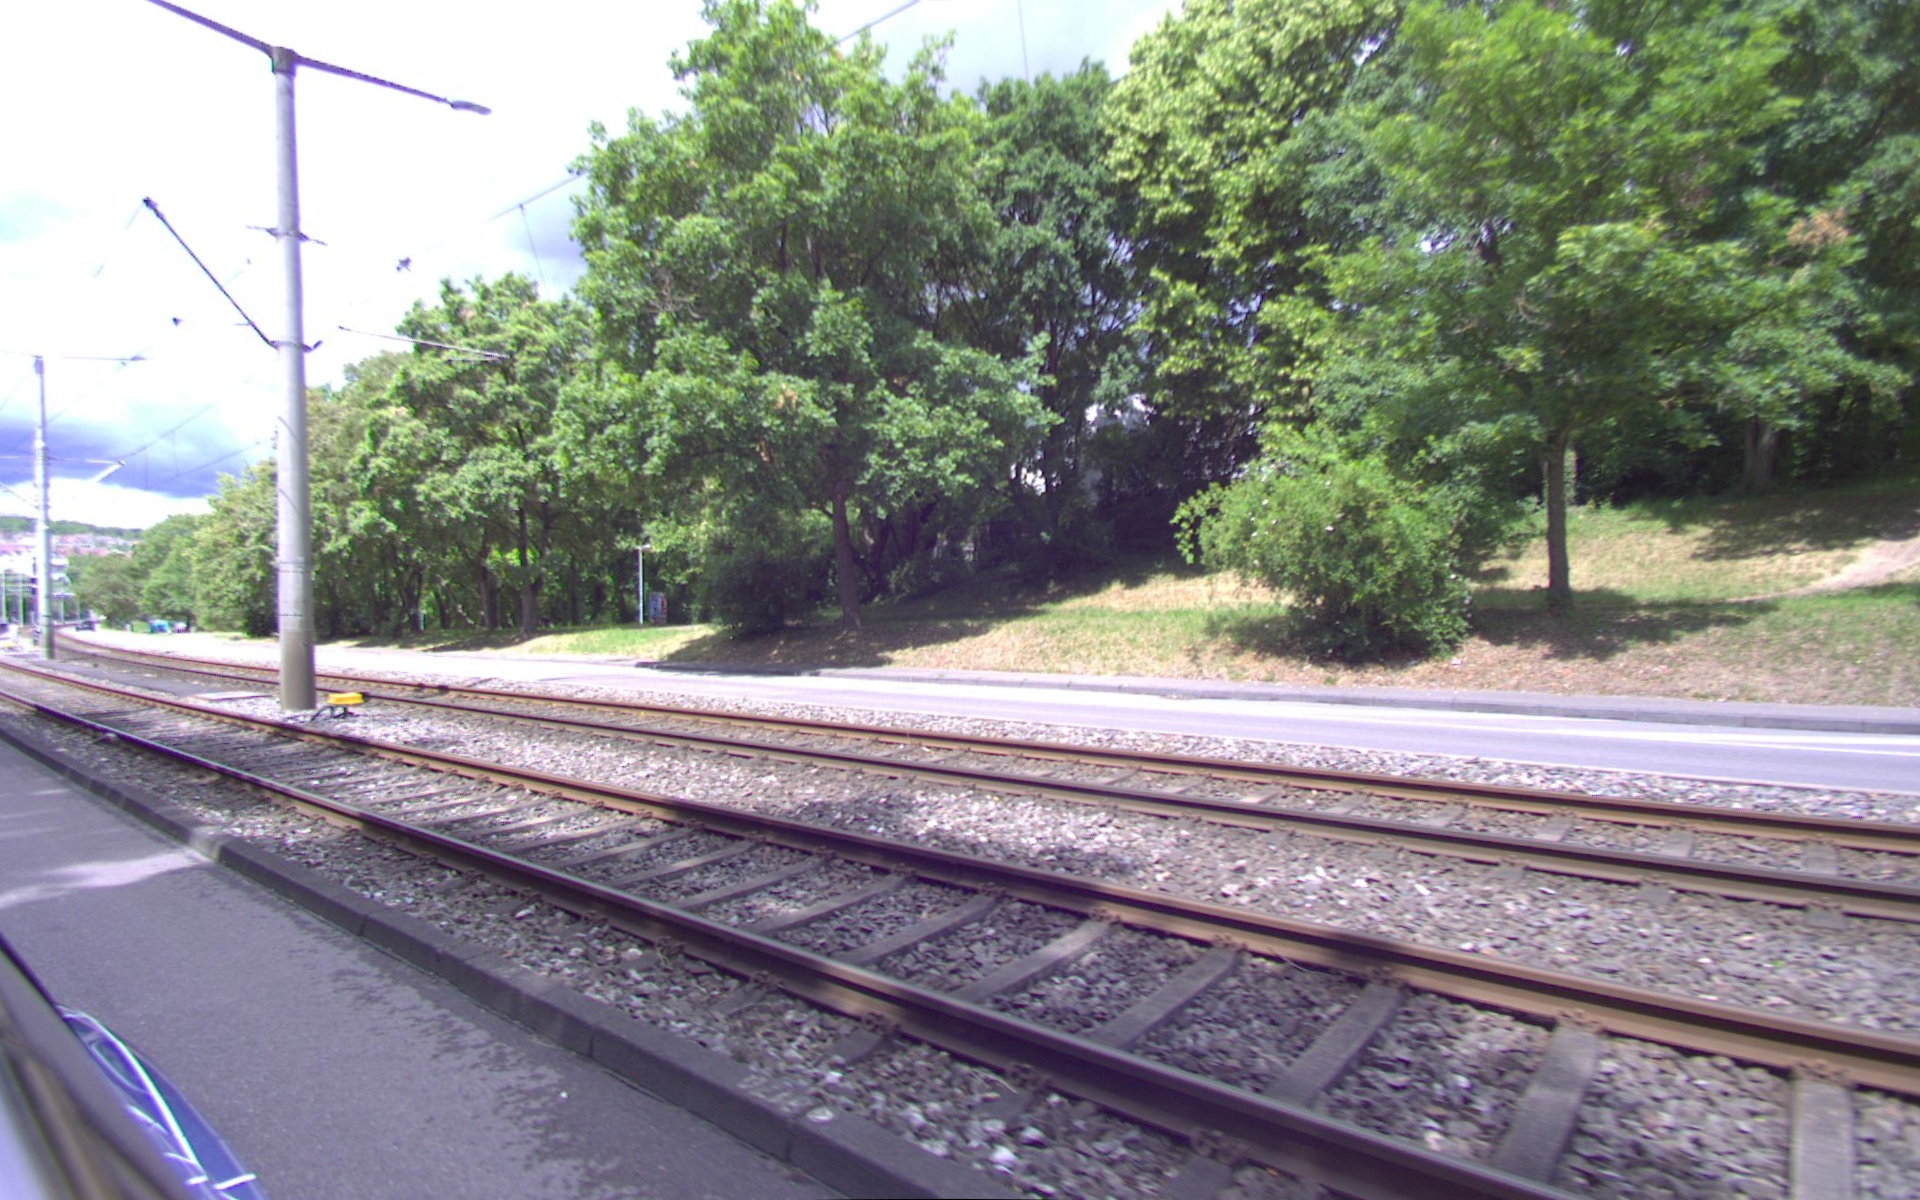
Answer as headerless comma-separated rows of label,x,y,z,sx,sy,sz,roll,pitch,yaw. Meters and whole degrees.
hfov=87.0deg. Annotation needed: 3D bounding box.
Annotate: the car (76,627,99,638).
car,-111.313,4.126,129.083,4.864,1.402,1.815,-2,-3,45
